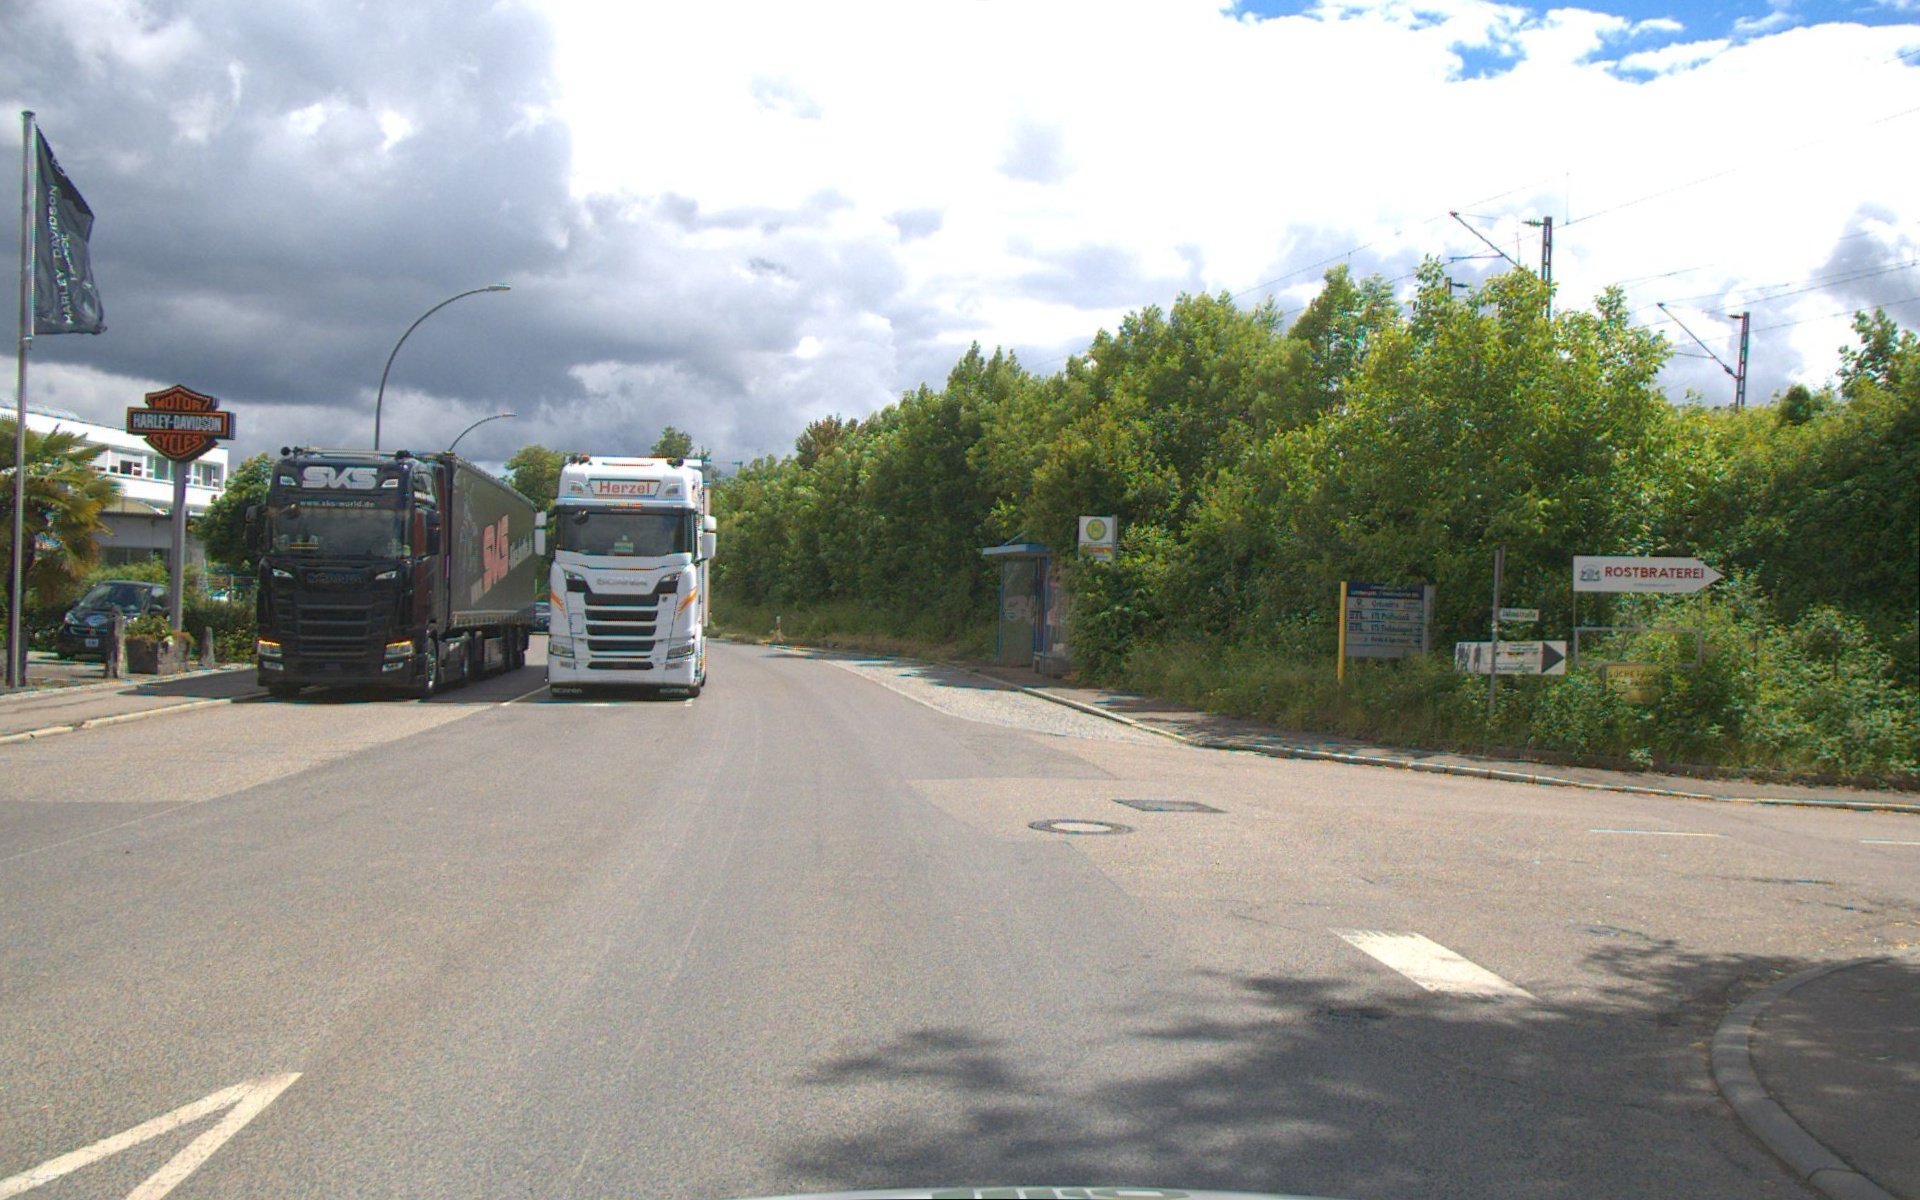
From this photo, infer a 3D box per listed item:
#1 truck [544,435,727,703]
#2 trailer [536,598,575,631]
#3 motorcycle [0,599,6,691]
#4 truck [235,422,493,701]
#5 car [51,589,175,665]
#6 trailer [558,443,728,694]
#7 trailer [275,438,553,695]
[{"bbox_3d":[-5.586,-0.460,28.849,2.721,4.191,4.974,2,-1,-10],"label":"truck"},{"bbox_3d":[-18.788,0.654,76.825,1.620,1.448,3.983,0,0,-16],"label":"trailer"},{"bbox_3d":[-15.004,0.603,23.341,2.512,1.329,0.848,2,-1,-3],"label":"motorcycle"},{"bbox_3d":[-9.895,-0.536,28.226,2.747,4.124,6.488,2,-1,-8],"label":"truck"},{"bbox_3d":[-16.545,0.527,32.403,1.023,1.388,2.686,2,-1,-1],"label":"car"},{"bbox_3d":[-6.740,-0.476,36.018,2.721,4.217,15.314,2,-1,-10],"label":"trailer"},{"bbox_3d":[-10.843,-0.482,34.859,2.747,4.124,15.525,2,-1,-8],"label":"trailer"}]
